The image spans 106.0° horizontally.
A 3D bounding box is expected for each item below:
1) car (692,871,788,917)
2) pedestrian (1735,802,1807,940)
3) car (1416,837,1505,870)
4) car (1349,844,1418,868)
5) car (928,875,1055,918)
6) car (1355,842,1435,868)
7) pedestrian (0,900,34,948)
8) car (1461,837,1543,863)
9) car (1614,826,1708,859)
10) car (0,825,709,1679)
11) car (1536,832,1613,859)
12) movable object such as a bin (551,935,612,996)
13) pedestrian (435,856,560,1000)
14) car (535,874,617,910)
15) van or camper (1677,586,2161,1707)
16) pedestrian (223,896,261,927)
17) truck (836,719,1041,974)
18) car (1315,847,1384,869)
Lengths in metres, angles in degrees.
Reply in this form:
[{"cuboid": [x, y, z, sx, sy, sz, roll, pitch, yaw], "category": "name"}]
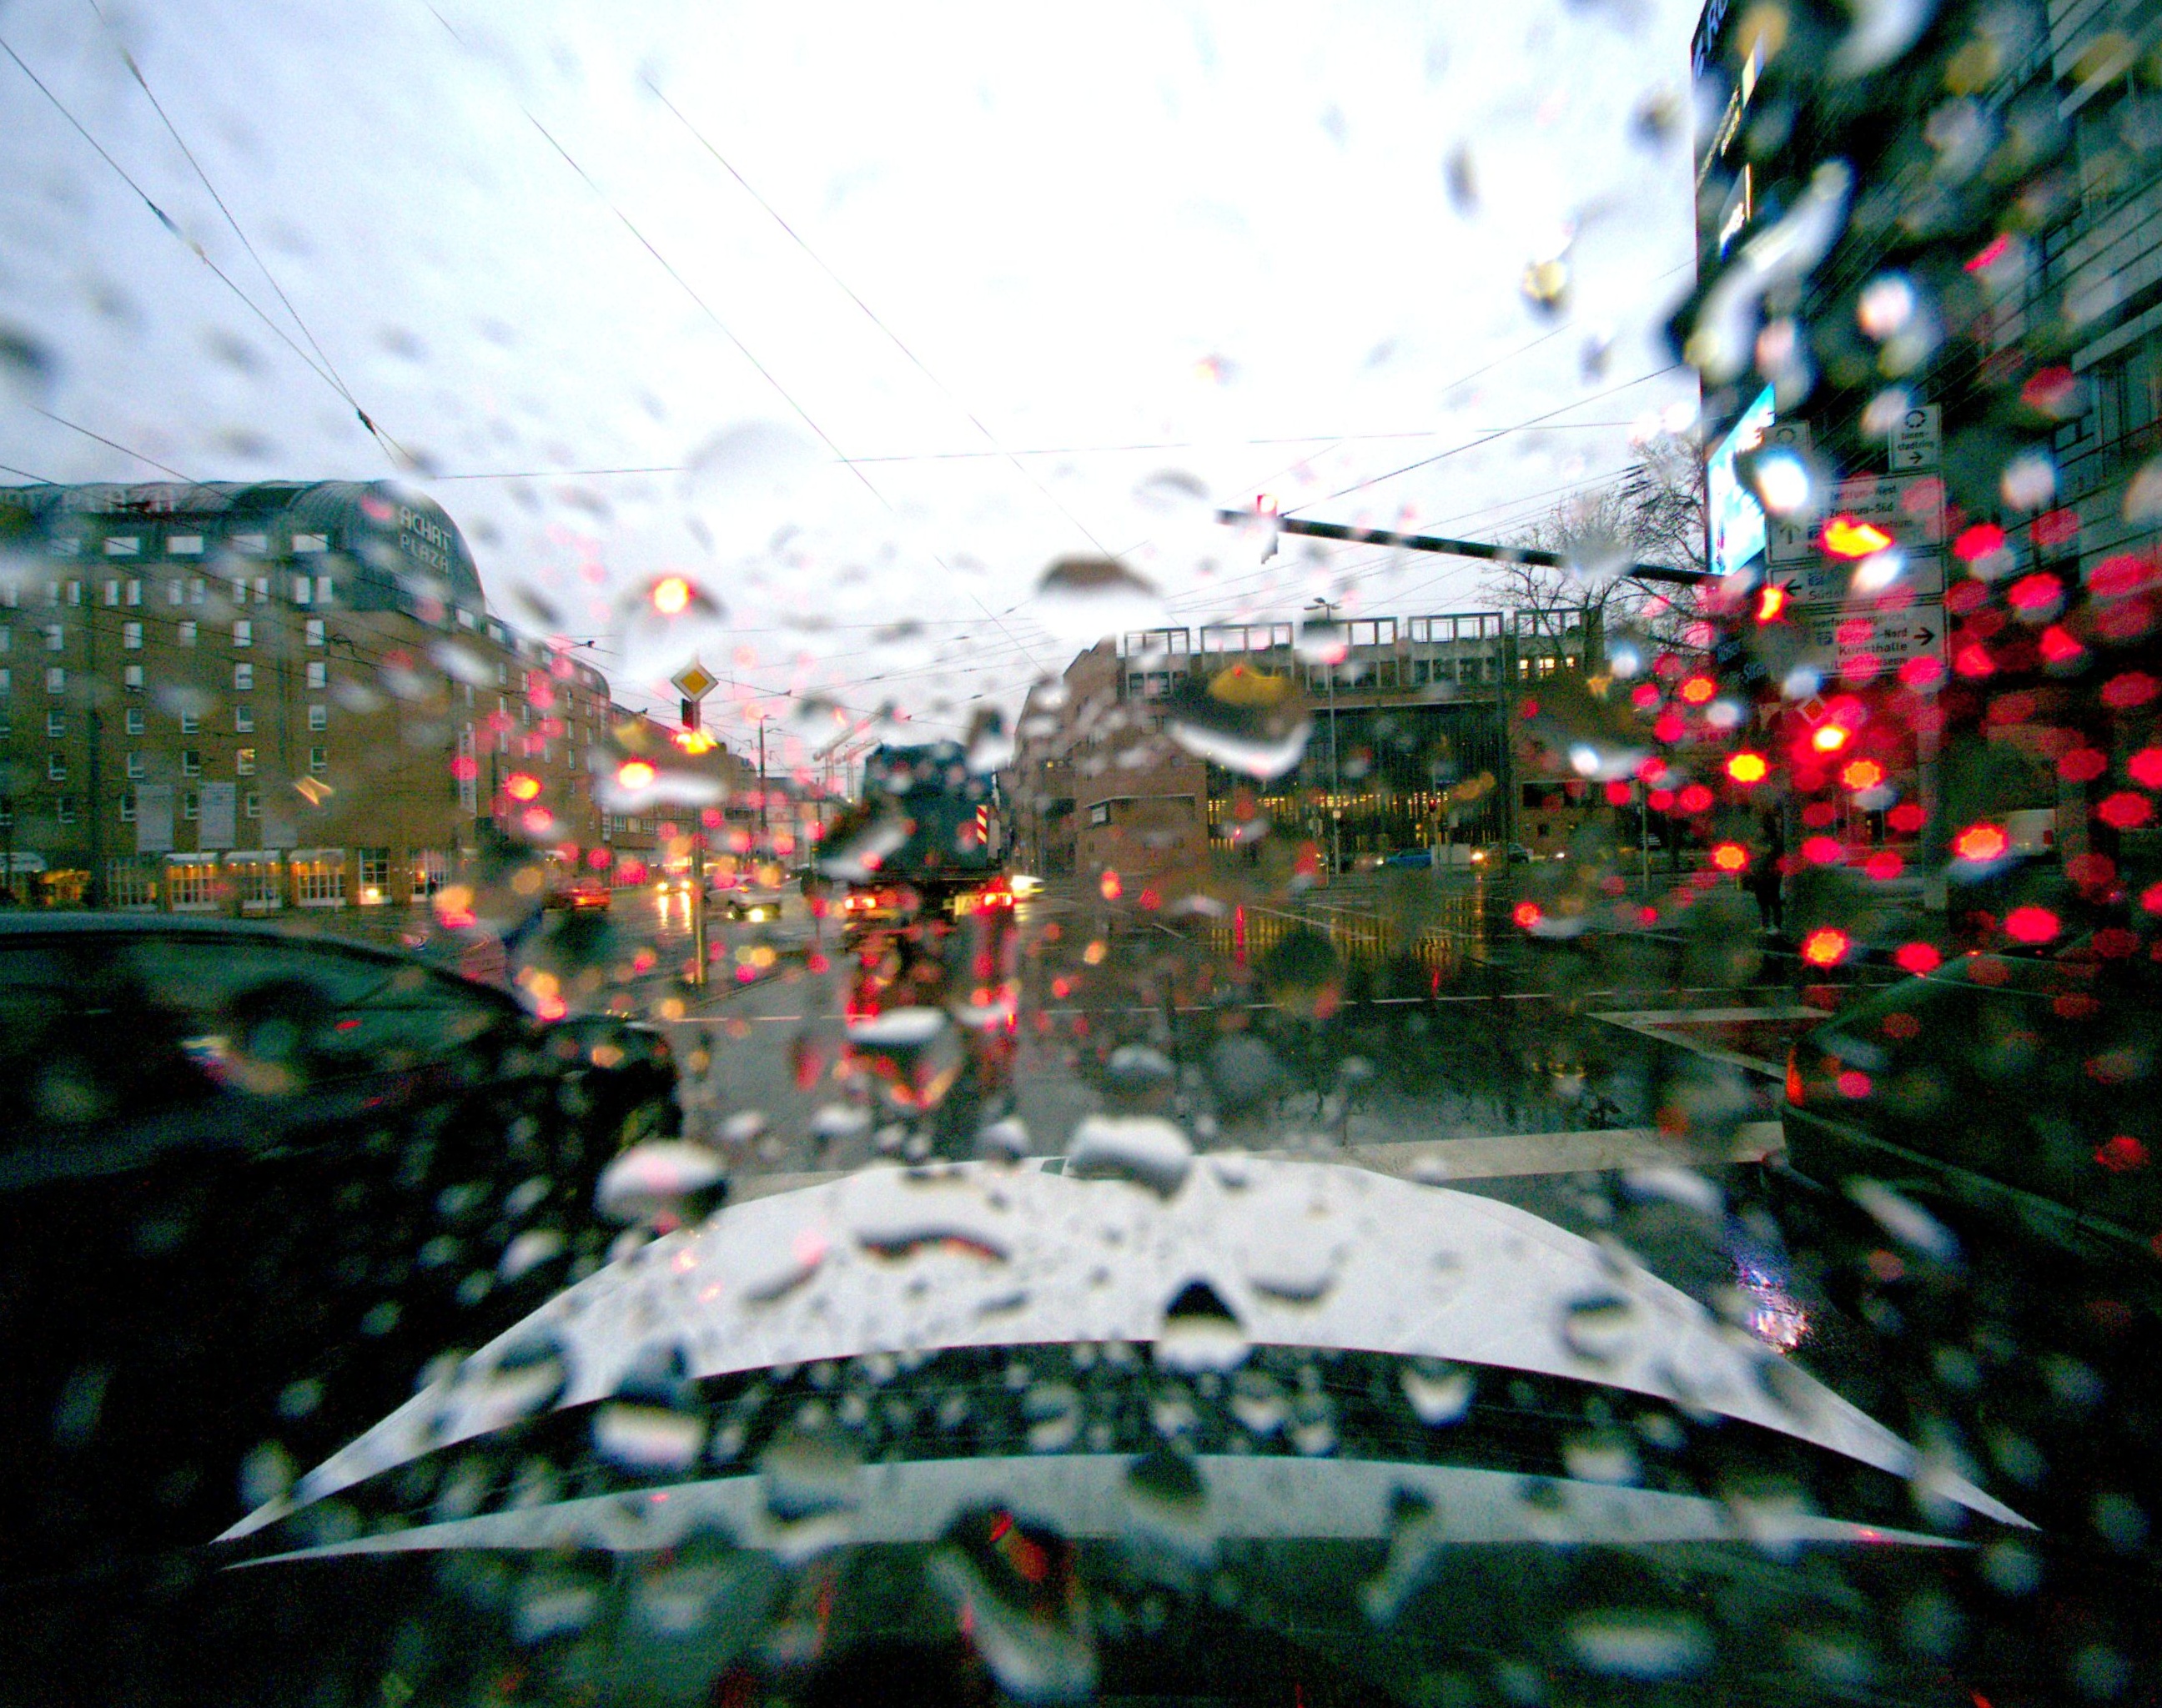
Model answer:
[{"cuboid": [-12.090, 1.385, 28.741, 3.950, 1.447, 1.721, -3, 0, 45], "category": "car"}, {"cuboid": [11.298, 0.273, 13.342, 0.574, 2.184, 0.619, -1, -1, -4], "category": "pedestrian"}, {"cuboid": [20.429, -0.050, 43.901, 3.979, 1.504, 1.845, -2, 4, -4], "category": "car"}, {"cuboid": [19.141, 0.127, 51.602, 3.713, 1.263, 1.845, -2, 4, -4], "category": "car"}, {"cuboid": [-3.647, 1.715, 33.036, 4.771, 1.561, 2.063, -2, 0, 30], "category": "car"}, {"cuboid": [18.309, 0.021, 47.533, 3.979, 1.263, 1.845, -2, 4, -4], "category": "car"}, {"cuboid": [-47.019, 3.069, 35.760, 0.887, 2.010, 1.173, -3, -1, 43], "category": "pedestrian"}, {"cuboid": [24.816, -0.247, 48.086, 3.979, 1.288, 1.845, -2, 4, -4], "category": "car"}, {"cuboid": [32.243, -0.643, 45.337, 3.979, 1.600, 1.845, -2, 4, -4], "category": "car"}, {"cuboid": [-2.741, 0.748, 2.056, 1.623, 1.523, 3.943, -2, -1, 2], "category": "car"}, {"cuboid": [32.156, -0.568, 53.081, 3.979, 1.504, 1.845, -2, 4, -4], "category": "car"}, {"cuboid": [-6.337, 1.403, 10.334, 0.407, 0.699, 0.541, -5, -2, 42], "category": "movable object such as a bin"}, {"cuboid": [-7.080, 0.866, 9.888, 0.707, 1.601, 1.043, -5, -1, 42], "category": "pedestrian"}, {"cuboid": [-22.534, 1.703, 36.335, 3.708, 1.459, 1.714, -2, 0, 34], "category": "car"}, {"cuboid": [2.668, 0.494, 0.308, 1.750, 1.906, 4.420, -1, 0, 2], "category": "van or camper"}, {"cuboid": [-47.272, 3.232, 45.895, 1.164, 1.678, 0.893, -2, -1, -17], "category": "pedestrian"}, {"cuboid": [-2.589, -0.115, 15.595, 2.838, 3.633, 7.505, -2, 0, -8], "category": "truck"}, {"cuboid": [18.243, 0.298, 55.453, 3.977, 1.310, 1.998, -2, 0, -2], "category": "car"}]
